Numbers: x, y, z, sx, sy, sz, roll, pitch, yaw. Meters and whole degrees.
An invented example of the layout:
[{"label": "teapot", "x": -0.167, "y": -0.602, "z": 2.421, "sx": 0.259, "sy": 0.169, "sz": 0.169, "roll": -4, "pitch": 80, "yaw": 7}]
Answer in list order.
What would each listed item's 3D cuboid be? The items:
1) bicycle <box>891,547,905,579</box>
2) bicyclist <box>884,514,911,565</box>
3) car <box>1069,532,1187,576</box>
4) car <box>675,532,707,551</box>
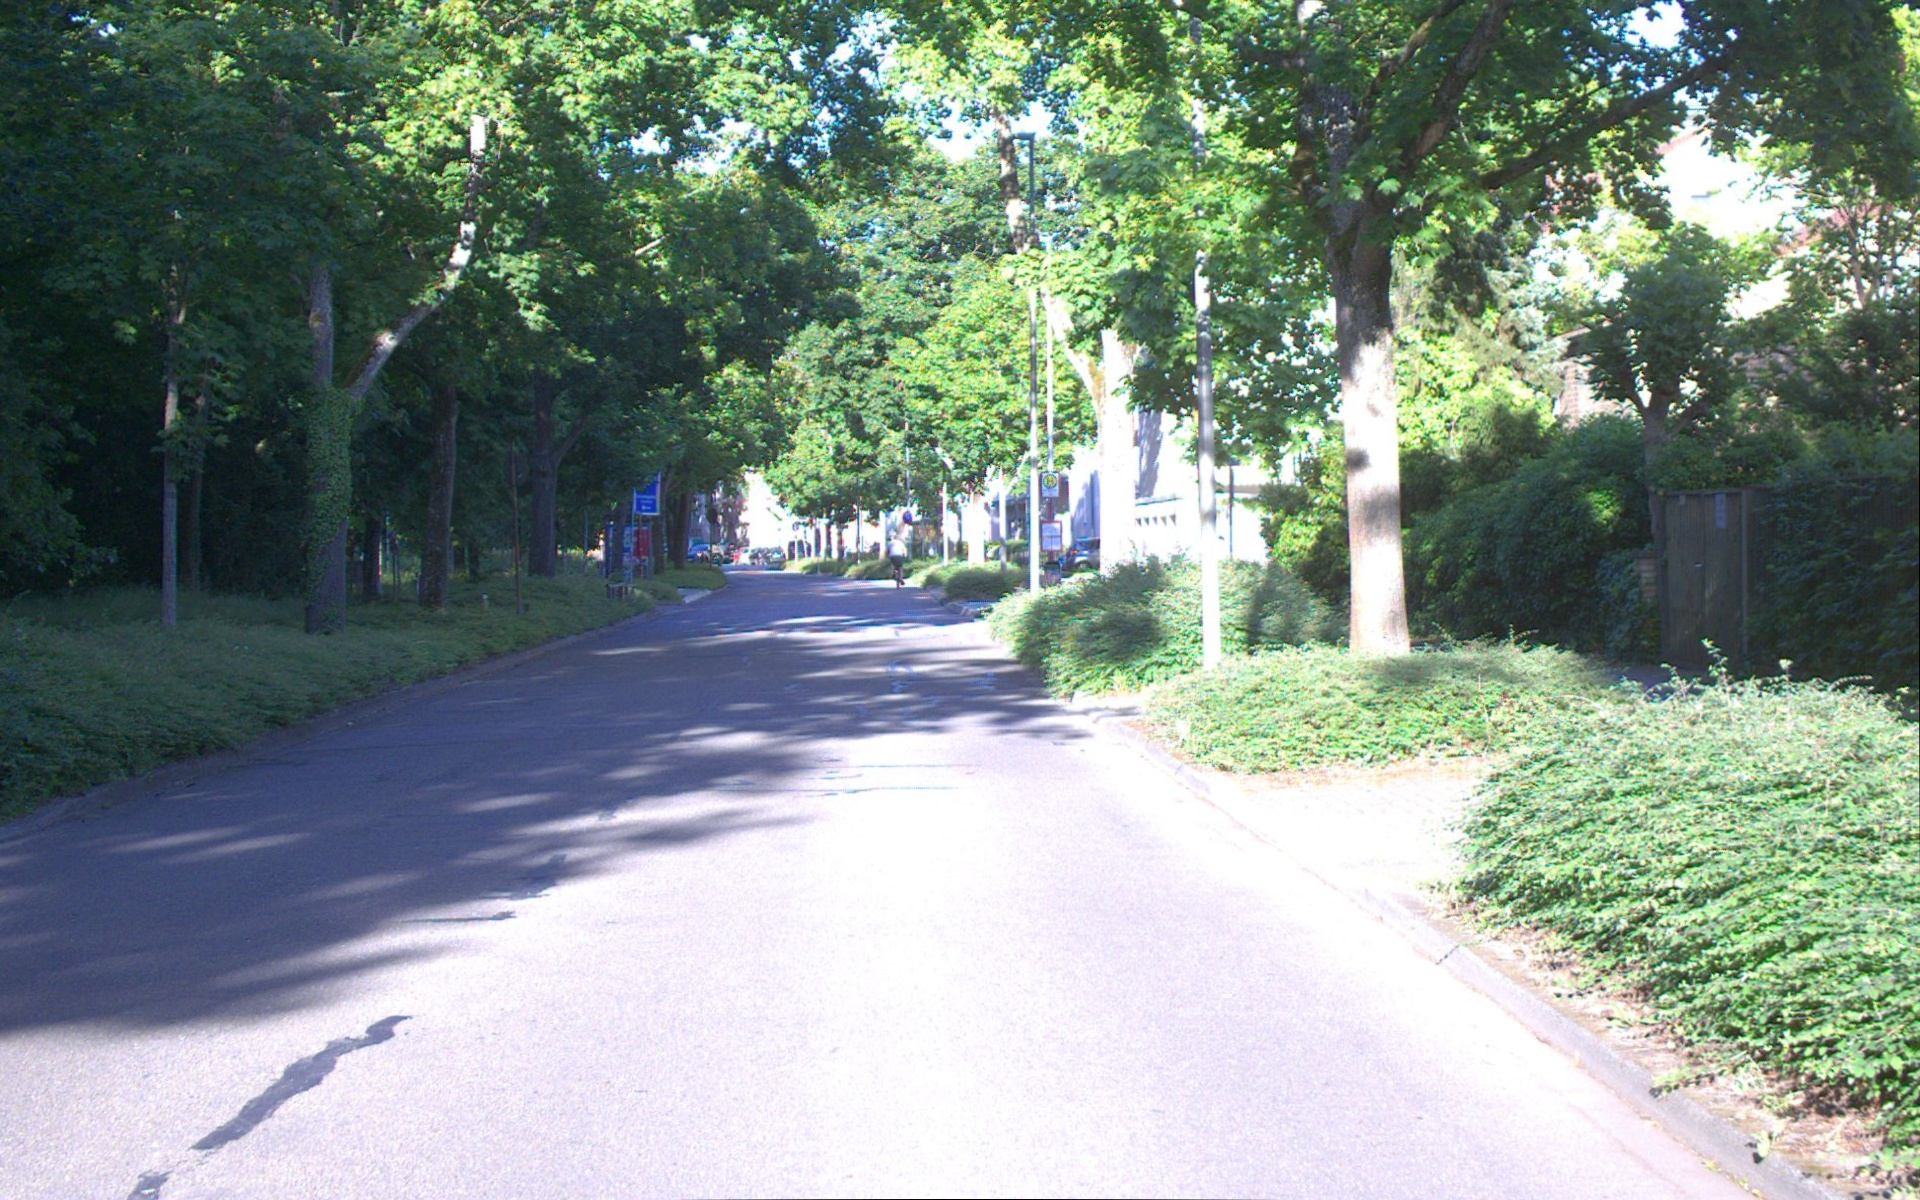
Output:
[{"label": "bicycle", "x": -2.037, "y": -1.226, "z": 112.739, "sx": 0.439, "sy": 0.975, "sz": 1.662, "roll": -1, "pitch": 2, "yaw": -2}, {"label": "bicyclist", "x": -2.061, "y": -2.000, "z": 112.726, "sx": 0.867, "sy": 1.635, "sz": 1.115, "roll": 0, "pitch": 2, "yaw": -2}, {"label": "car", "x": 6.436, "y": -1.758, "z": 131.289, "sx": 4.351, "sy": 1.349, "sz": 2.143, "roll": 3, "pitch": 5, "yaw": 5}, {"label": "car", "x": -19.963, "y": -4.363, "z": 255.089, "sx": 1.993, "sy": 1.349, "sz": 3.542, "roll": 0, "pitch": 1, "yaw": -11}]
